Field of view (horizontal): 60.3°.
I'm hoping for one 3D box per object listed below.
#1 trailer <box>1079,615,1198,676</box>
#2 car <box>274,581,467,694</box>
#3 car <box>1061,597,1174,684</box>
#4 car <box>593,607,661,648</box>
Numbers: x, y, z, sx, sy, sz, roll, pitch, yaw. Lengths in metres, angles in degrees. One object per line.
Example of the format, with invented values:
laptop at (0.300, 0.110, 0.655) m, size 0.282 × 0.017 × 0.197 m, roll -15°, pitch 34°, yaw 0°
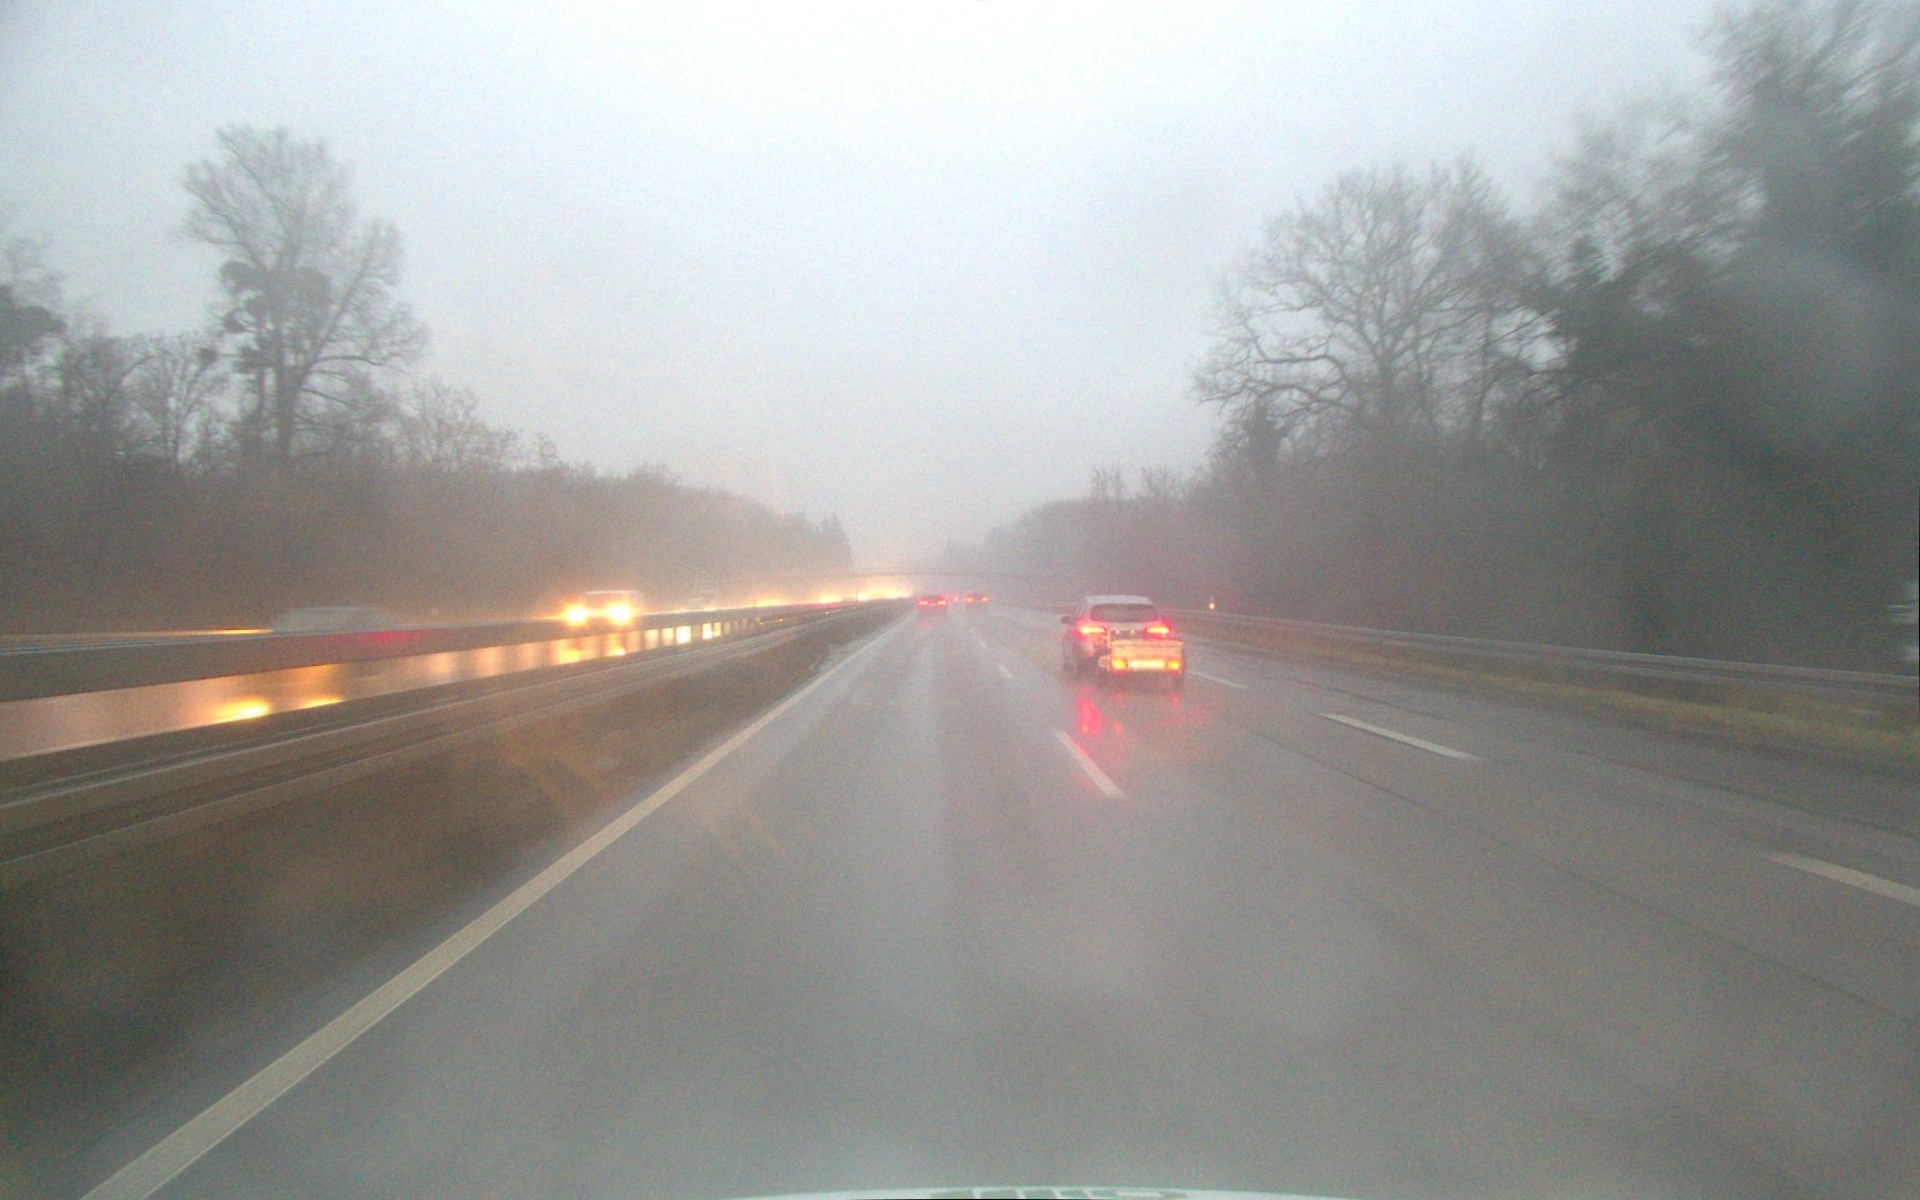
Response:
trailer at (3.080, 0.768, 29.023) m, size 1.712 × 0.941 × 2.950 m, roll -1°, pitch 0°, yaw -1°
car at (-11.565, 0.707, 32.888) m, size 1.953 × 2.049 × 5.256 m, roll -1°, pitch 0°, yaw 0°
car at (3.023, 0.746, 32.403) m, size 1.750 × 1.543 × 3.810 m, roll -1°, pitch 0°, yaw -1°
car at (-12.068, 0.970, 60.104) m, size 1.669 × 1.375 × 4.156 m, roll -1°, pitch 0°, yaw -1°
